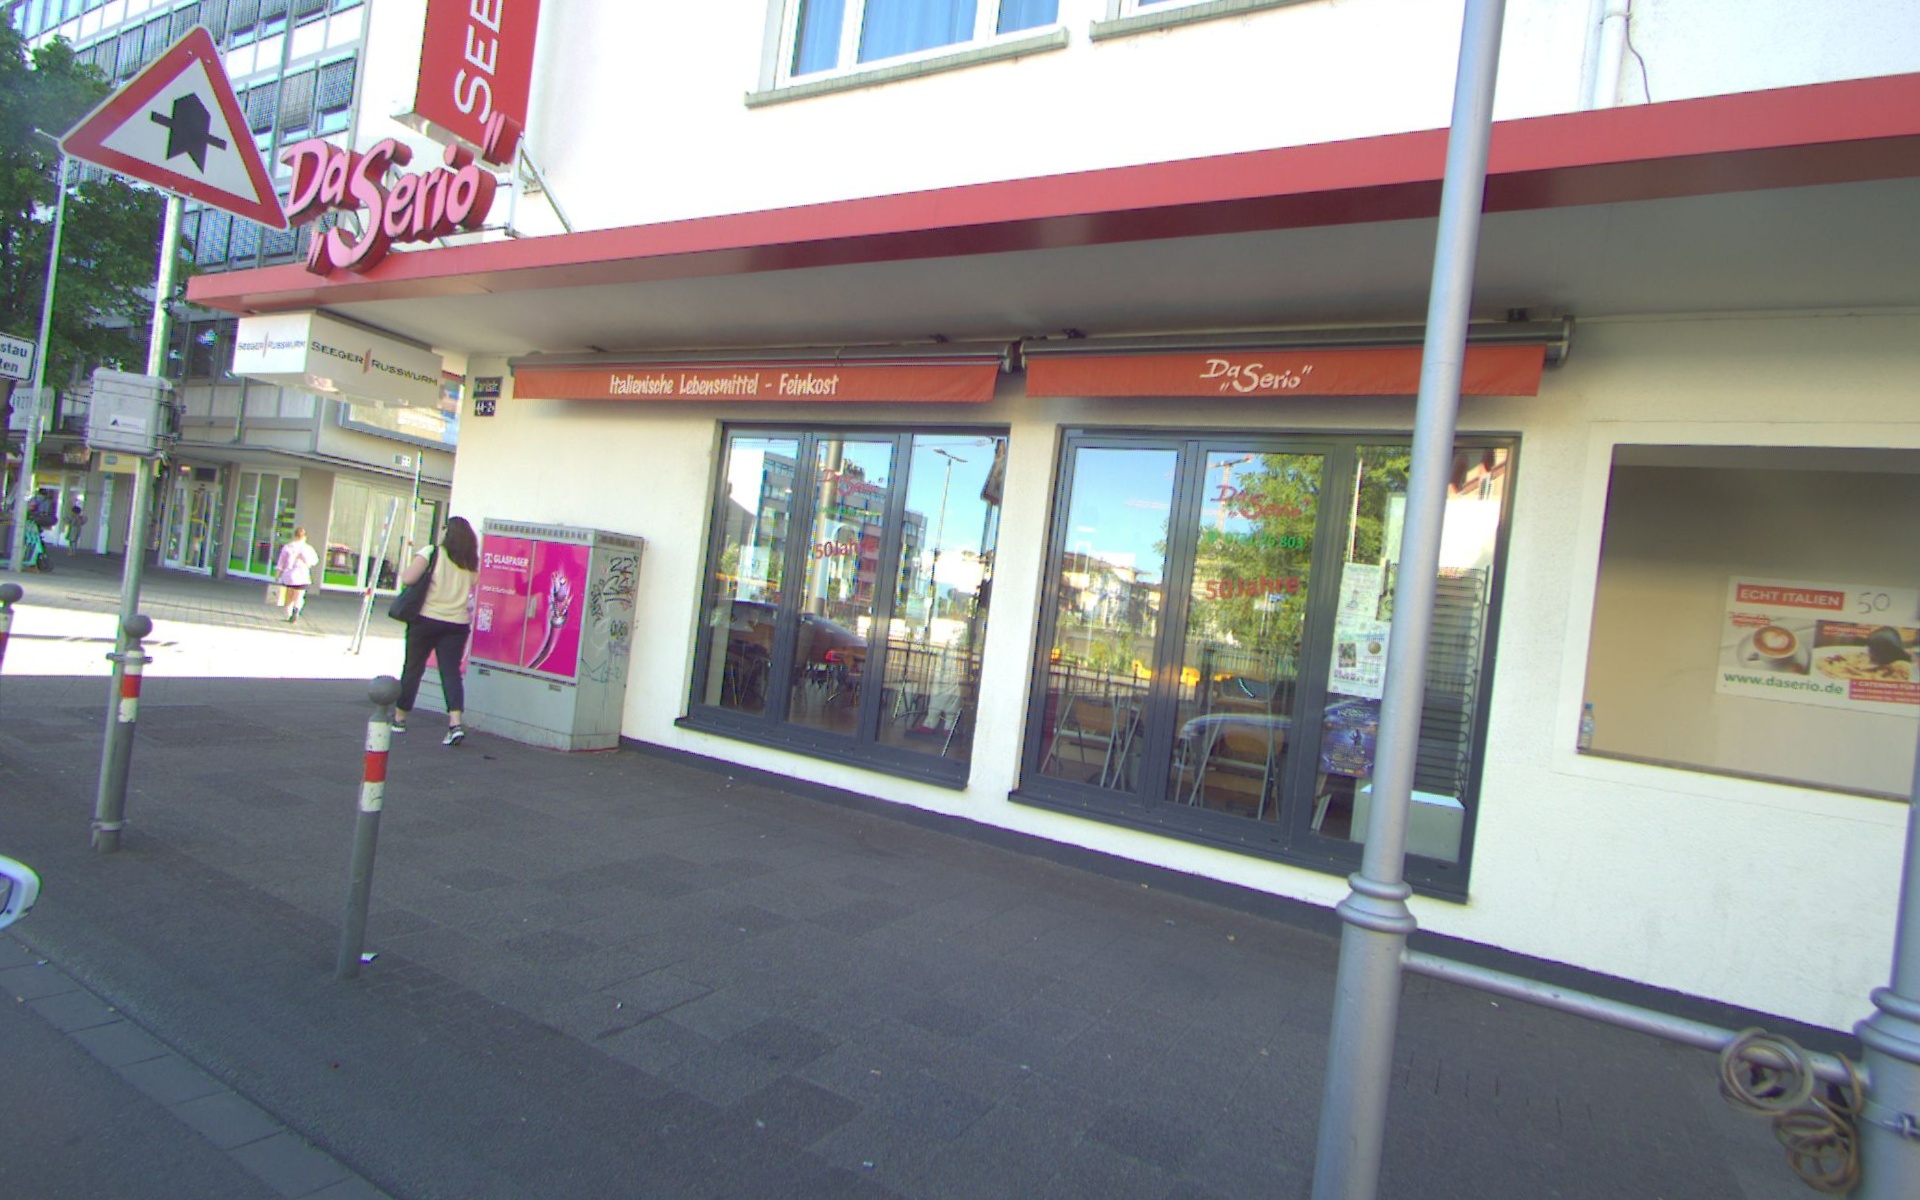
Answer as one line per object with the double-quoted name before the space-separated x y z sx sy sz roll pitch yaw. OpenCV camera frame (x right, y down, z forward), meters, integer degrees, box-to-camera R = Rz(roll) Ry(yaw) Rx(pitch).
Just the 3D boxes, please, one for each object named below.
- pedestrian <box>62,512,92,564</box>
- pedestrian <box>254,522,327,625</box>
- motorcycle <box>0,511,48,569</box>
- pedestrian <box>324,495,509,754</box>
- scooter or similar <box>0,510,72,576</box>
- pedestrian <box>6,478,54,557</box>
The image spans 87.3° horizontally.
"pedestrian" -24.681 -1.730 28.107 0.504 1.359 0.390 6 -1 34
"pedestrian" -11.909 -0.465 17.909 0.884 1.687 0.801 8 -1 -35
"motorcycle" -21.618 -1.417 22.436 0.532 1.186 1.711 7 -2 30
"pedestrian" -4.134 0.181 7.626 0.910 1.773 1.028 7 0 -38
"scooter or similar" -19.937 -1.233 21.176 1.628 1.229 0.640 8 -1 -29
"pedestrian" -25.416 -2.240 27.508 0.570 2.037 0.663 6 -1 34
